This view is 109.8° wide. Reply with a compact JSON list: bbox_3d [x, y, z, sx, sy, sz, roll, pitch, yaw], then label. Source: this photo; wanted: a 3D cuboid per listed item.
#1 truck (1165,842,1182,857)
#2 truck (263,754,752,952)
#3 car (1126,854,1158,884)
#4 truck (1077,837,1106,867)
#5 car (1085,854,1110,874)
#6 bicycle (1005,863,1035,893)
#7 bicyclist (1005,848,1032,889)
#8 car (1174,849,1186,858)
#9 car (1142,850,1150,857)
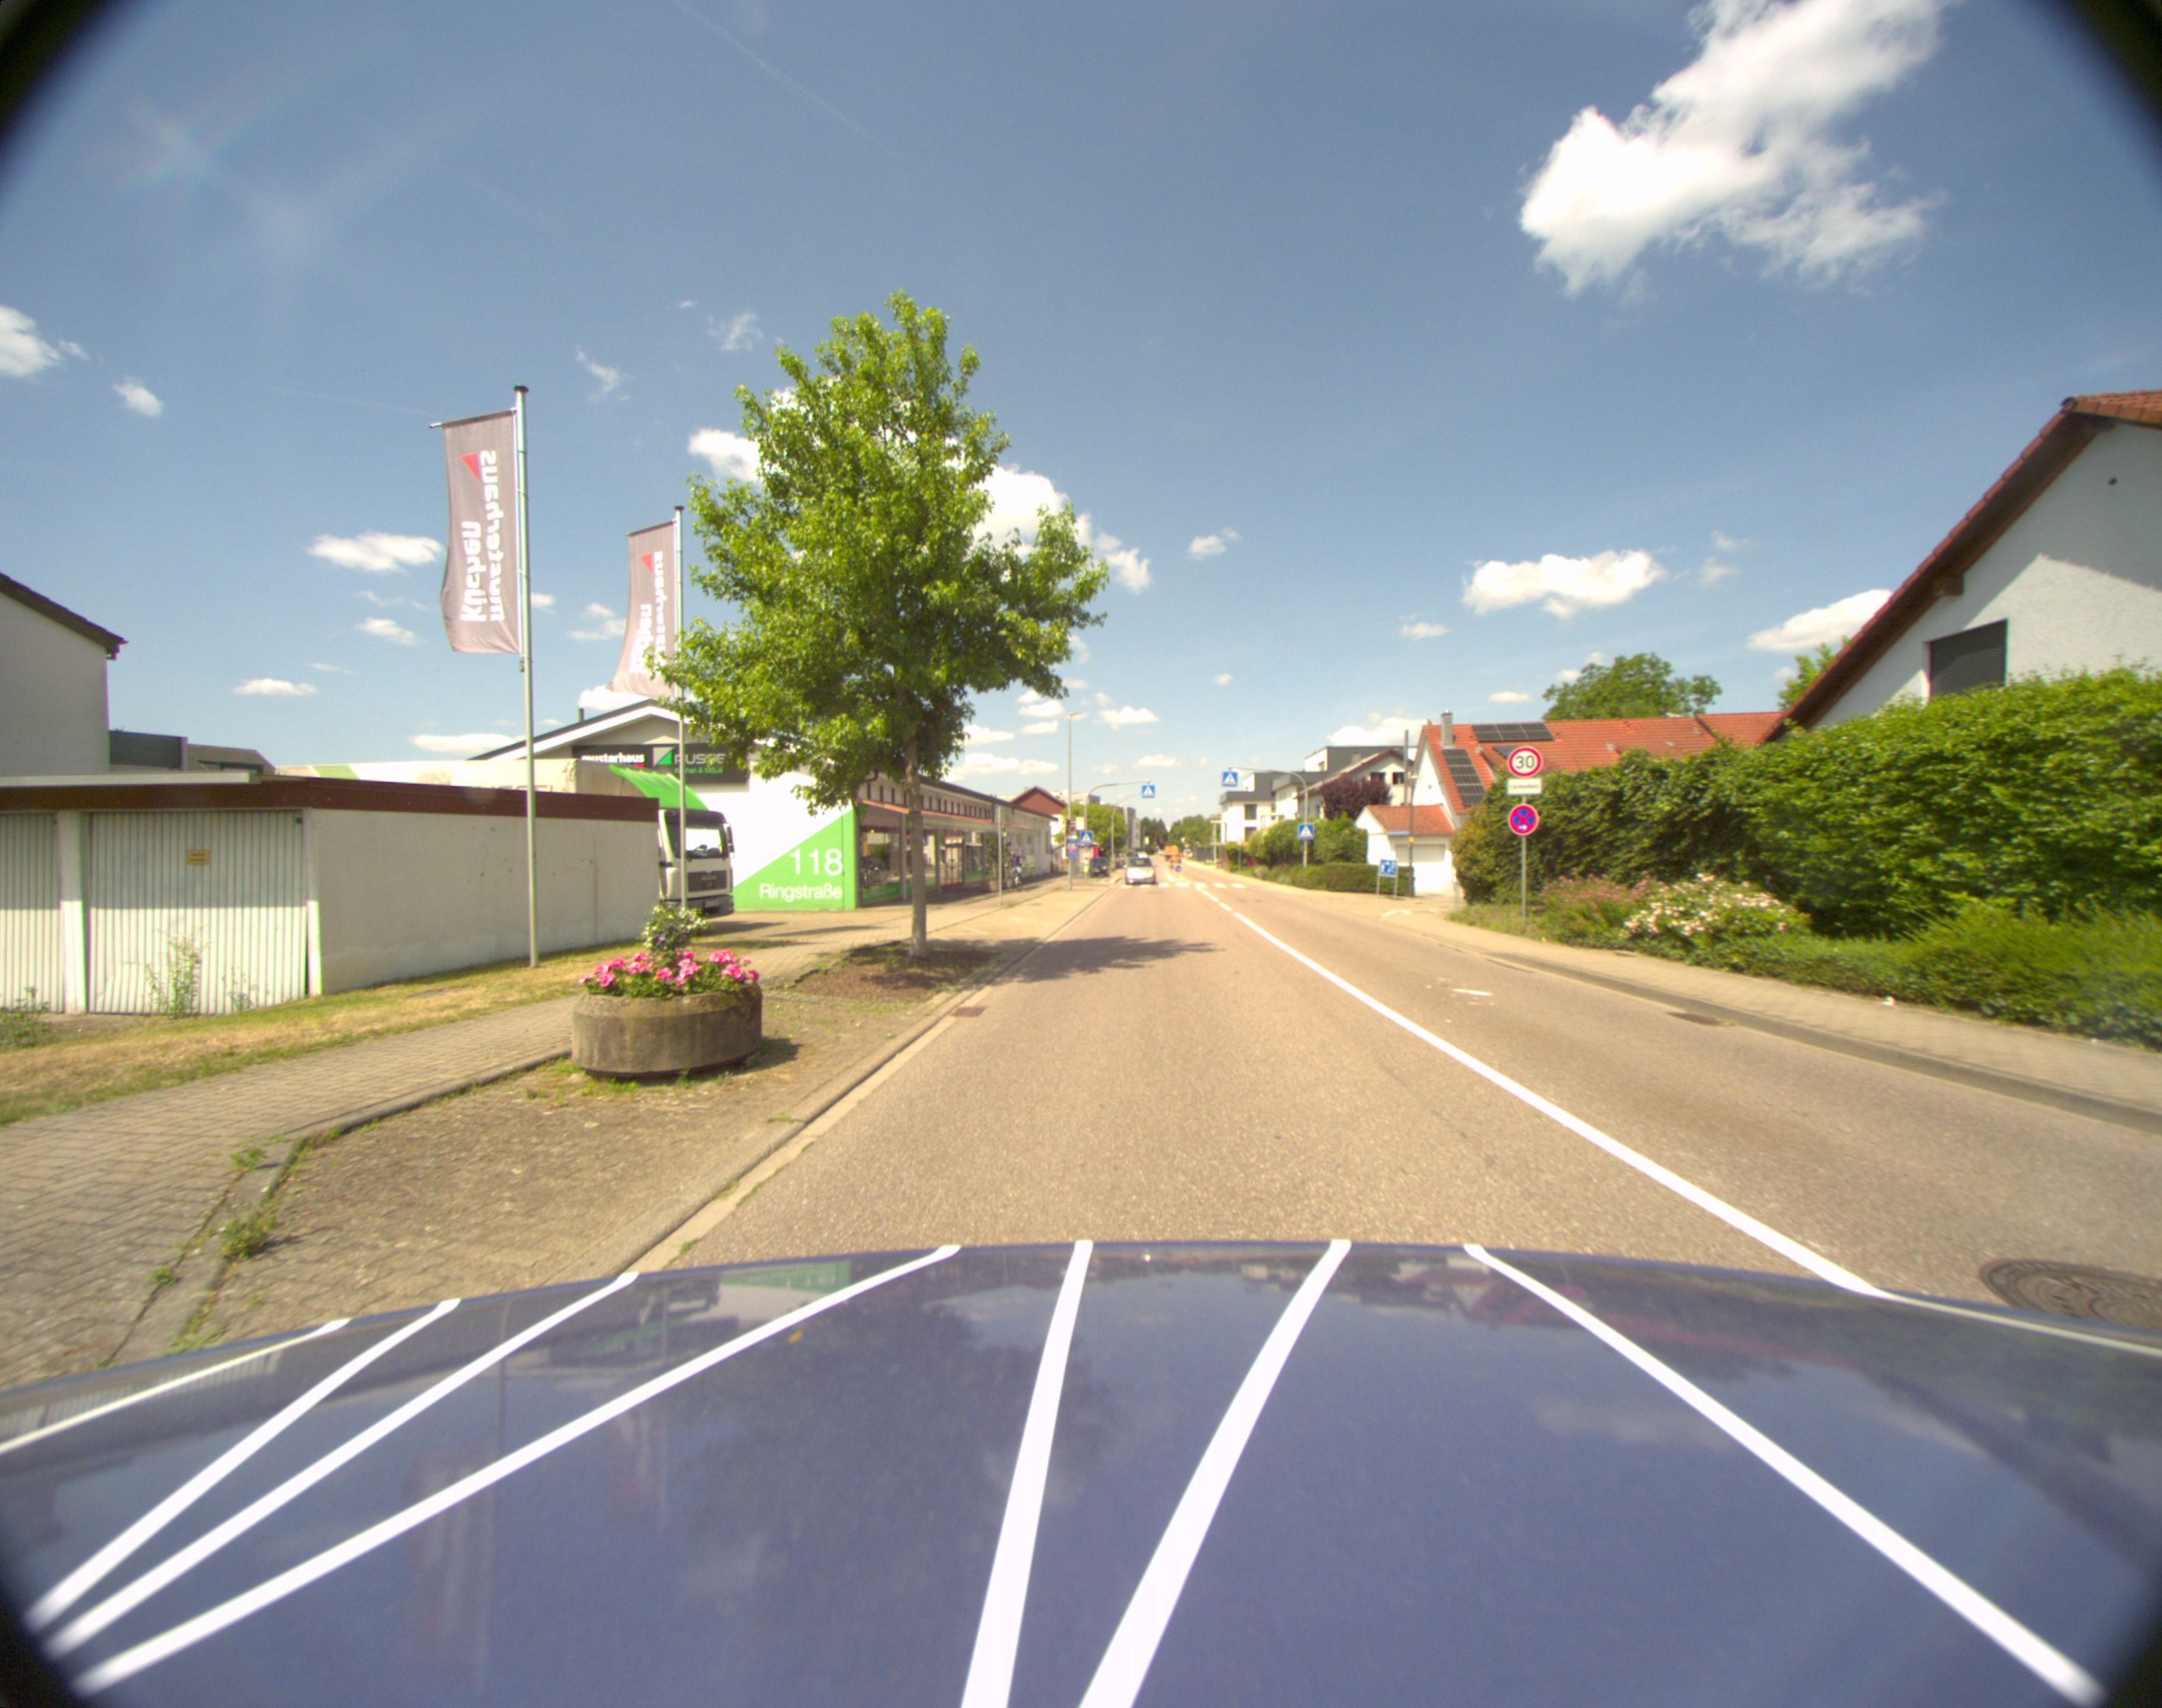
[{"bbox_3d":[17.213,-0.840,142.129,2.863,2.695,6.793,1,1,5],"label":"truck"},{"bbox_3d":[-11.459,0.000,15.621,8.188,3.552,2.678,-1,2,5],"label":"truck"},{"bbox_3d":[3.556,0.831,44.003,1.722,1.590,3.761,-3,0,5],"label":"car"},{"bbox_3d":[0.968,-0.194,74.255,2.579,2.745,6.333,1,1,0],"label":"truck"},{"bbox_3d":[1.331,0.755,59.088,1.728,1.484,3.761,1,1,5],"label":"car"},{"bbox_3d":[-2.495,0.974,31.264,0.805,1.158,1.944,-3,-1,7],"label":"bicycle"},{"bbox_3d":[-2.560,0.576,31.235,0.805,1.620,1.112,-3,0,7],"label":"bicyclist"},{"bbox_3d":[15.814,-0.124,121.784,1.798,1.480,3.614,1,1,5],"label":"car"},{"bbox_3d":[14.604,-0.195,169.550,1.728,1.484,3.761,1,1,6],"label":"car"}]
